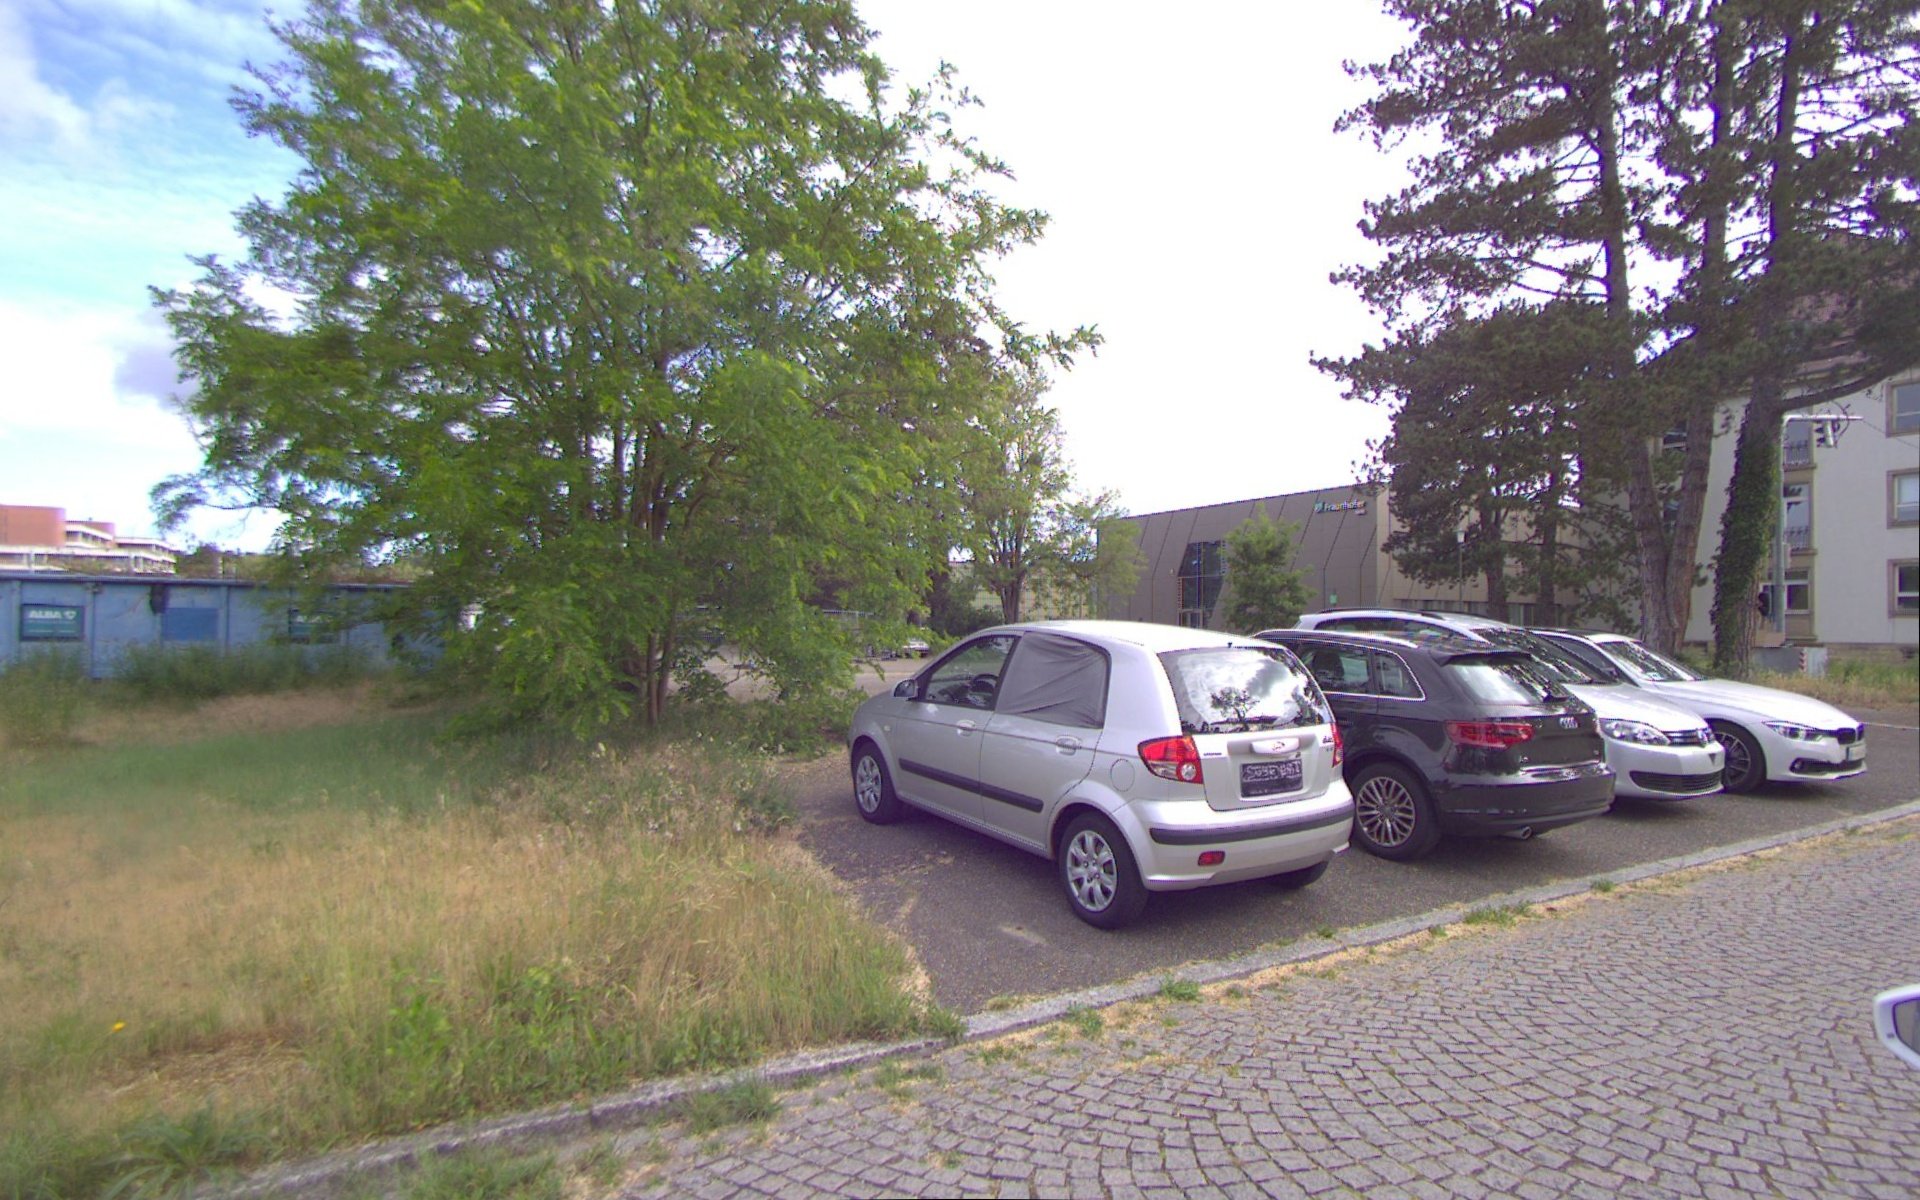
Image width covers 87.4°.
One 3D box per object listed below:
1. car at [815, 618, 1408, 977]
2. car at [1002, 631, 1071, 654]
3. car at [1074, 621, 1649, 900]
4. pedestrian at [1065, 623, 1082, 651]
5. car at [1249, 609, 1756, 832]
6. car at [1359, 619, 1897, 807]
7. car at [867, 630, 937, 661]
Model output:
[{"bbox_3d":[0.682,0.922,6.504,1.790,1.472,3.654,1,1,-34],"label":"car"},{"bbox_3d":[5.368,2.934,70.321,4.405,1.449,1.985,-1,-1,-29],"label":"car"},{"bbox_3d":[2.797,0.971,7.905,1.731,1.446,3.966,1,1,-31],"label":"car"},{"bbox_3d":[8.217,2.670,72.725,0.913,2.040,0.891,1,-2,-39],"label":"pedestrian"},{"bbox_3d":[4.946,0.940,9.702,1.707,1.568,3.961,1,1,-34],"label":"car"},{"bbox_3d":[6.997,1.021,11.102,1.783,1.463,4.619,1,1,-33],"label":"car"},{"bbox_3d":[-2.841,2.150,48.315,1.678,1.410,3.966,1,-2,-31],"label":"car"}]
